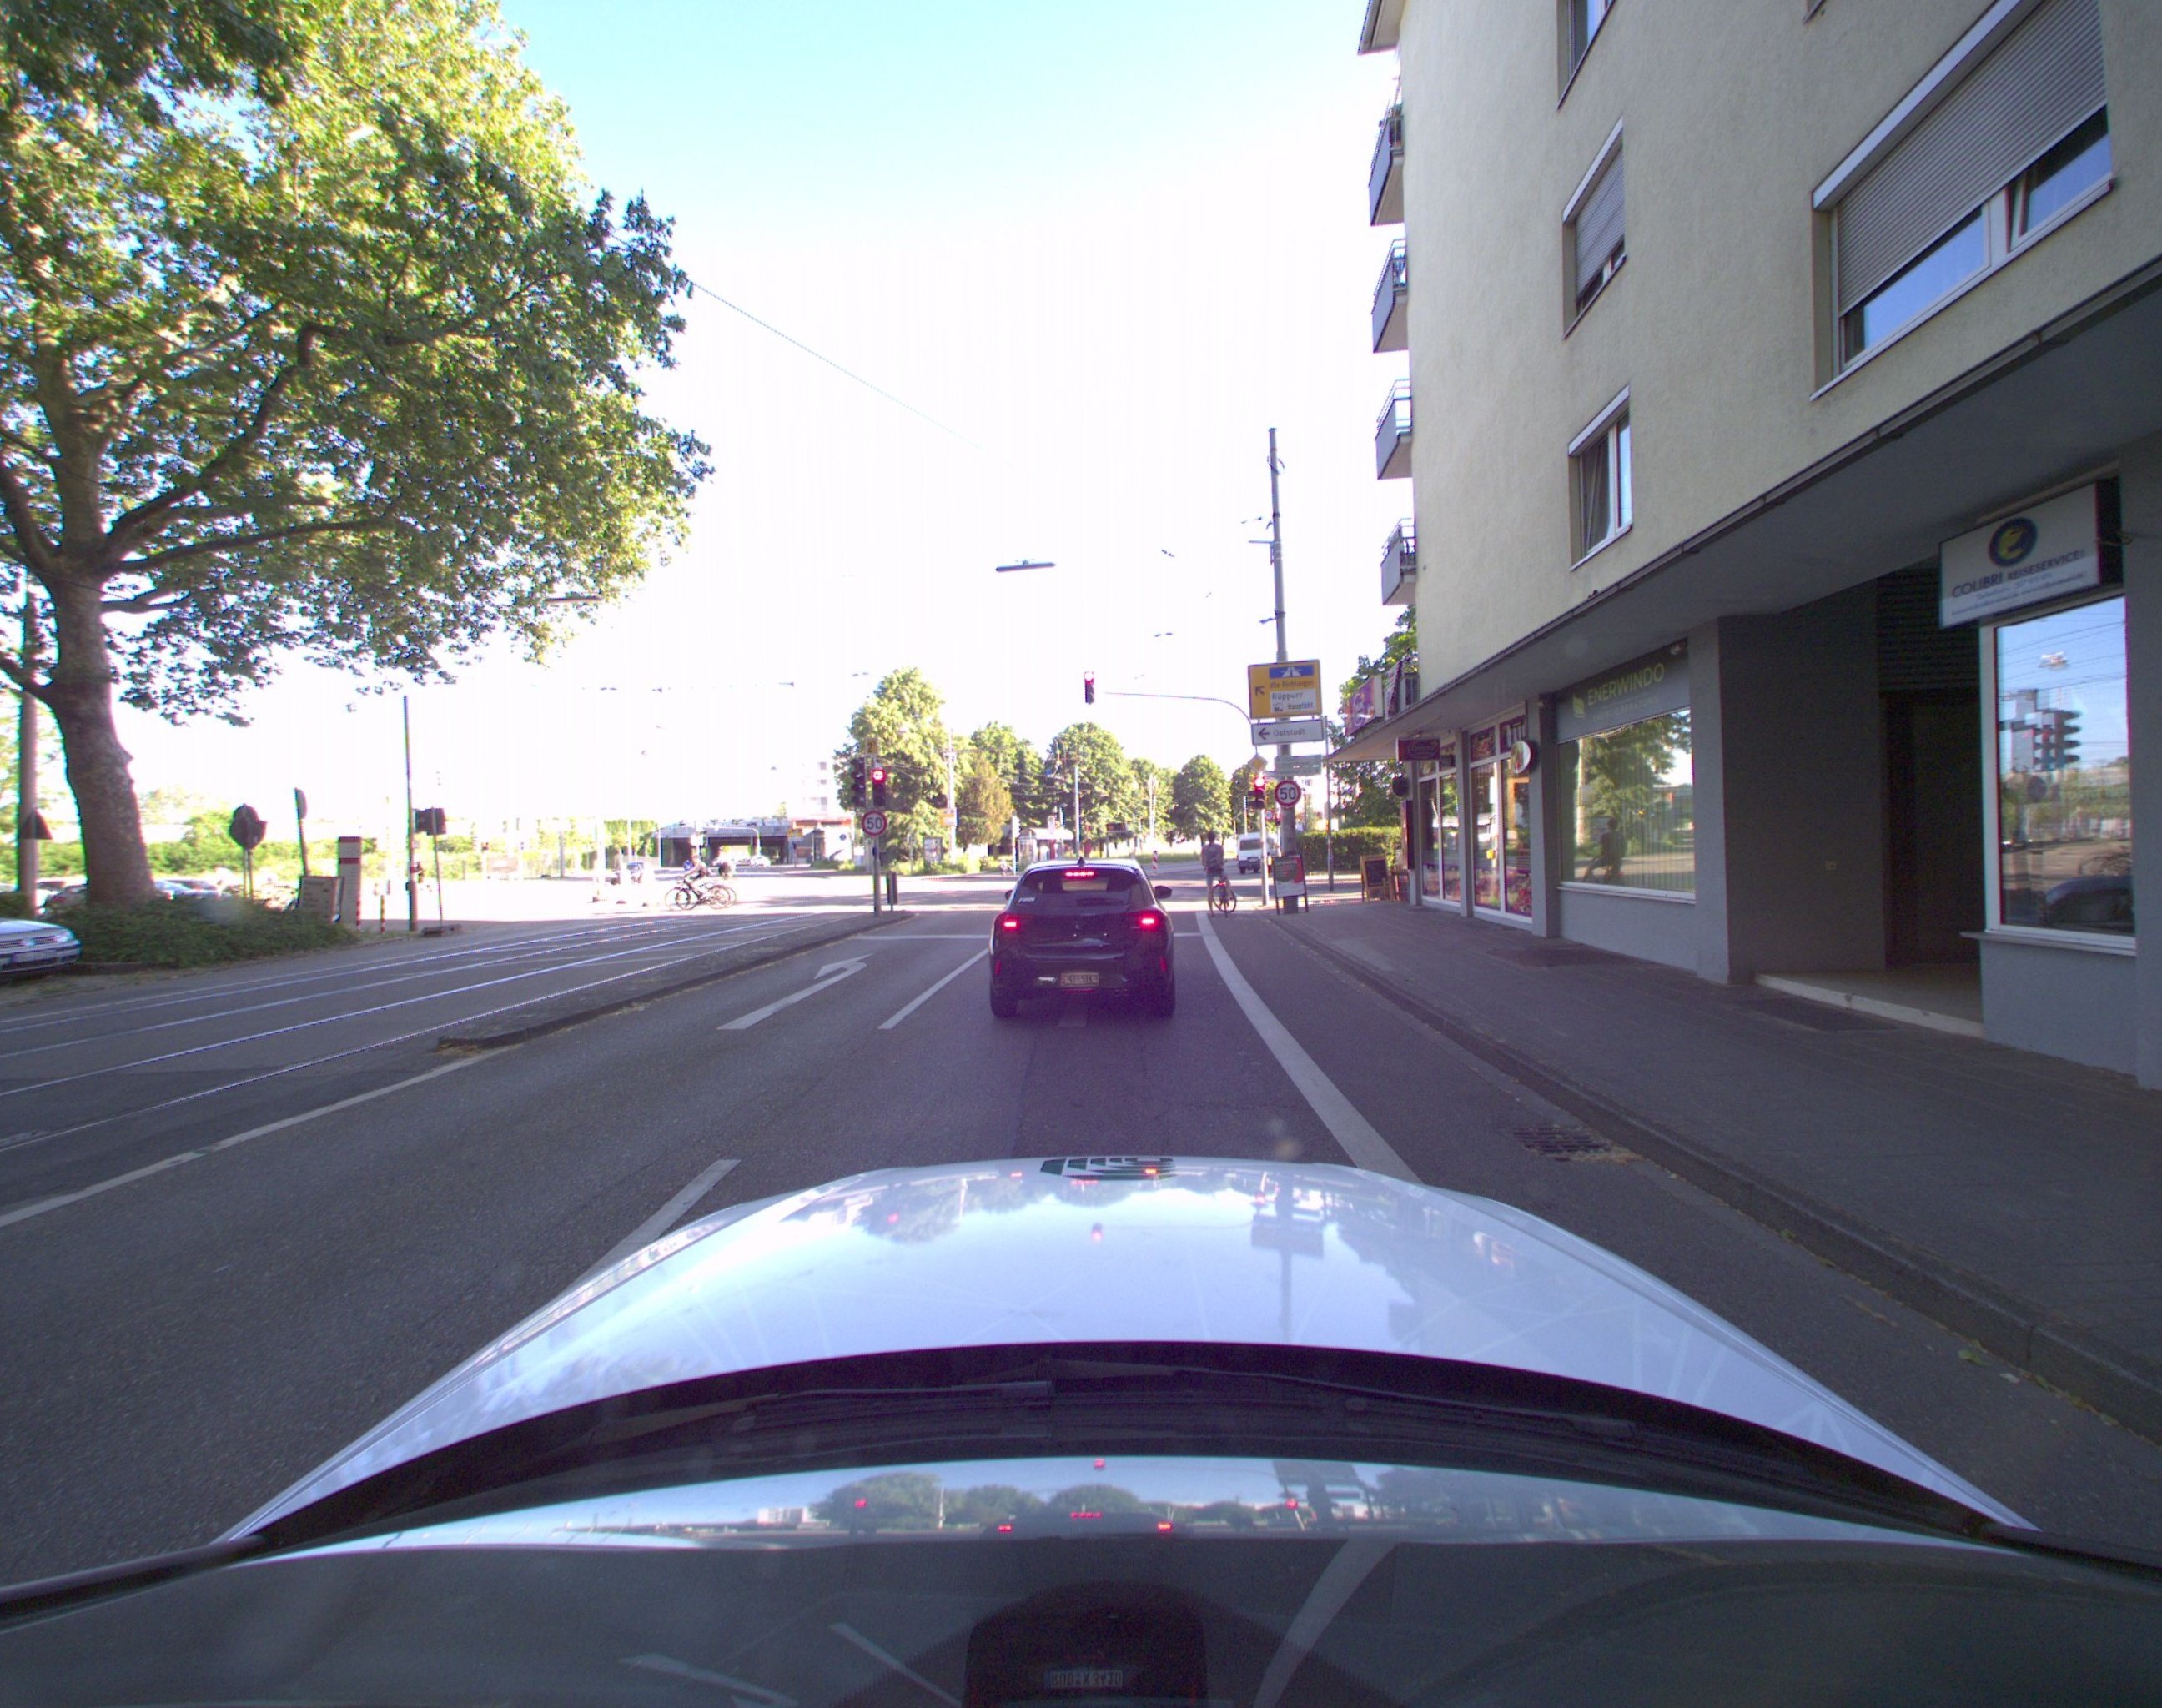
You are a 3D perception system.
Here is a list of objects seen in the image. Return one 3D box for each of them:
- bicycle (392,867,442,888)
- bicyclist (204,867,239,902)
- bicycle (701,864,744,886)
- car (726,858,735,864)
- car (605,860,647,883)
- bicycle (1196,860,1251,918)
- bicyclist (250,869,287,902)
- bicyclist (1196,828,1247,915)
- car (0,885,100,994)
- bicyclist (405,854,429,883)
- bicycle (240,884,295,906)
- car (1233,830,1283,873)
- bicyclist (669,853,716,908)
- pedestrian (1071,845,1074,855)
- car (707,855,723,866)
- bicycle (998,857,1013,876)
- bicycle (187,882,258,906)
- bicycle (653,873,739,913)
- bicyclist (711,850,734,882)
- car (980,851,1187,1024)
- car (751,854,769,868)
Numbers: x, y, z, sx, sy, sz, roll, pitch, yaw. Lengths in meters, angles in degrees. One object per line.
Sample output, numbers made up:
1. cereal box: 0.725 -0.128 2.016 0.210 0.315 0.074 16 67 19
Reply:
1. bicycle: -36.931 1.310 45.334 0.576 1.060 2.054 -2 0 27
2. bicyclist: -43.252 1.513 40.980 0.931 1.707 0.868 -2 0 -26
3. bicycle: -18.890 1.096 42.870 2.042 1.094 0.594 -2 0 9
4. car: -92.042 1.886 213.745 2.003 1.602 4.213 -2 0 -24
5. car: -31.289 1.155 56.104 1.830 1.519 3.870 0 0 -18
6. bicycle: 3.104 0.731 17.990 0.857 1.153 2.172 -2 0 1
7. bicyclist: -40.648 1.581 40.749 1.007 1.570 0.799 -2 0 -1
8. bicyclist: 3.083 0.375 17.974 0.938 1.851 0.864 -2 0 1
9. car: -16.960 1.200 11.365 4.497 1.429 1.676 0 0 0
10. bicyclist: -36.941 0.818 45.311 0.629 1.563 0.838 -2 0 27
11. bicycle: -40.667 2.049 40.738 2.051 0.984 0.673 -2 0 0
12. car: 10.143 -0.154 46.387 2.046 2.248 4.912 -2 0 20
13. bicyclist: -11.397 0.760 23.936 1.117 1.520 0.915 -2 0 -21
14. pedestrian: -1.097 -0.531 107.894 0.411 1.412 0.436 0 -1 1
15. car: -63.598 1.176 141.455 2.221 1.823 4.118 -2 0 -21
16. bicycle: -4.308 0.725 46.741 0.603 1.031 1.983 -2 0 2
17. bicycle: -43.199 1.993 41.008 2.305 1.084 0.794 -2 0 -26
18. bicycle: -11.296 1.128 23.991 2.199 1.033 0.828 -2 0 -21
19. bicyclist: -18.854 0.627 42.818 0.856 1.595 0.651 -2 0 9
20. car: 0.099 0.699 8.942 1.720 1.429 4.189 -1 0 2
21. car: -42.910 0.953 108.739 1.741 1.805 4.150 -2 0 -28
